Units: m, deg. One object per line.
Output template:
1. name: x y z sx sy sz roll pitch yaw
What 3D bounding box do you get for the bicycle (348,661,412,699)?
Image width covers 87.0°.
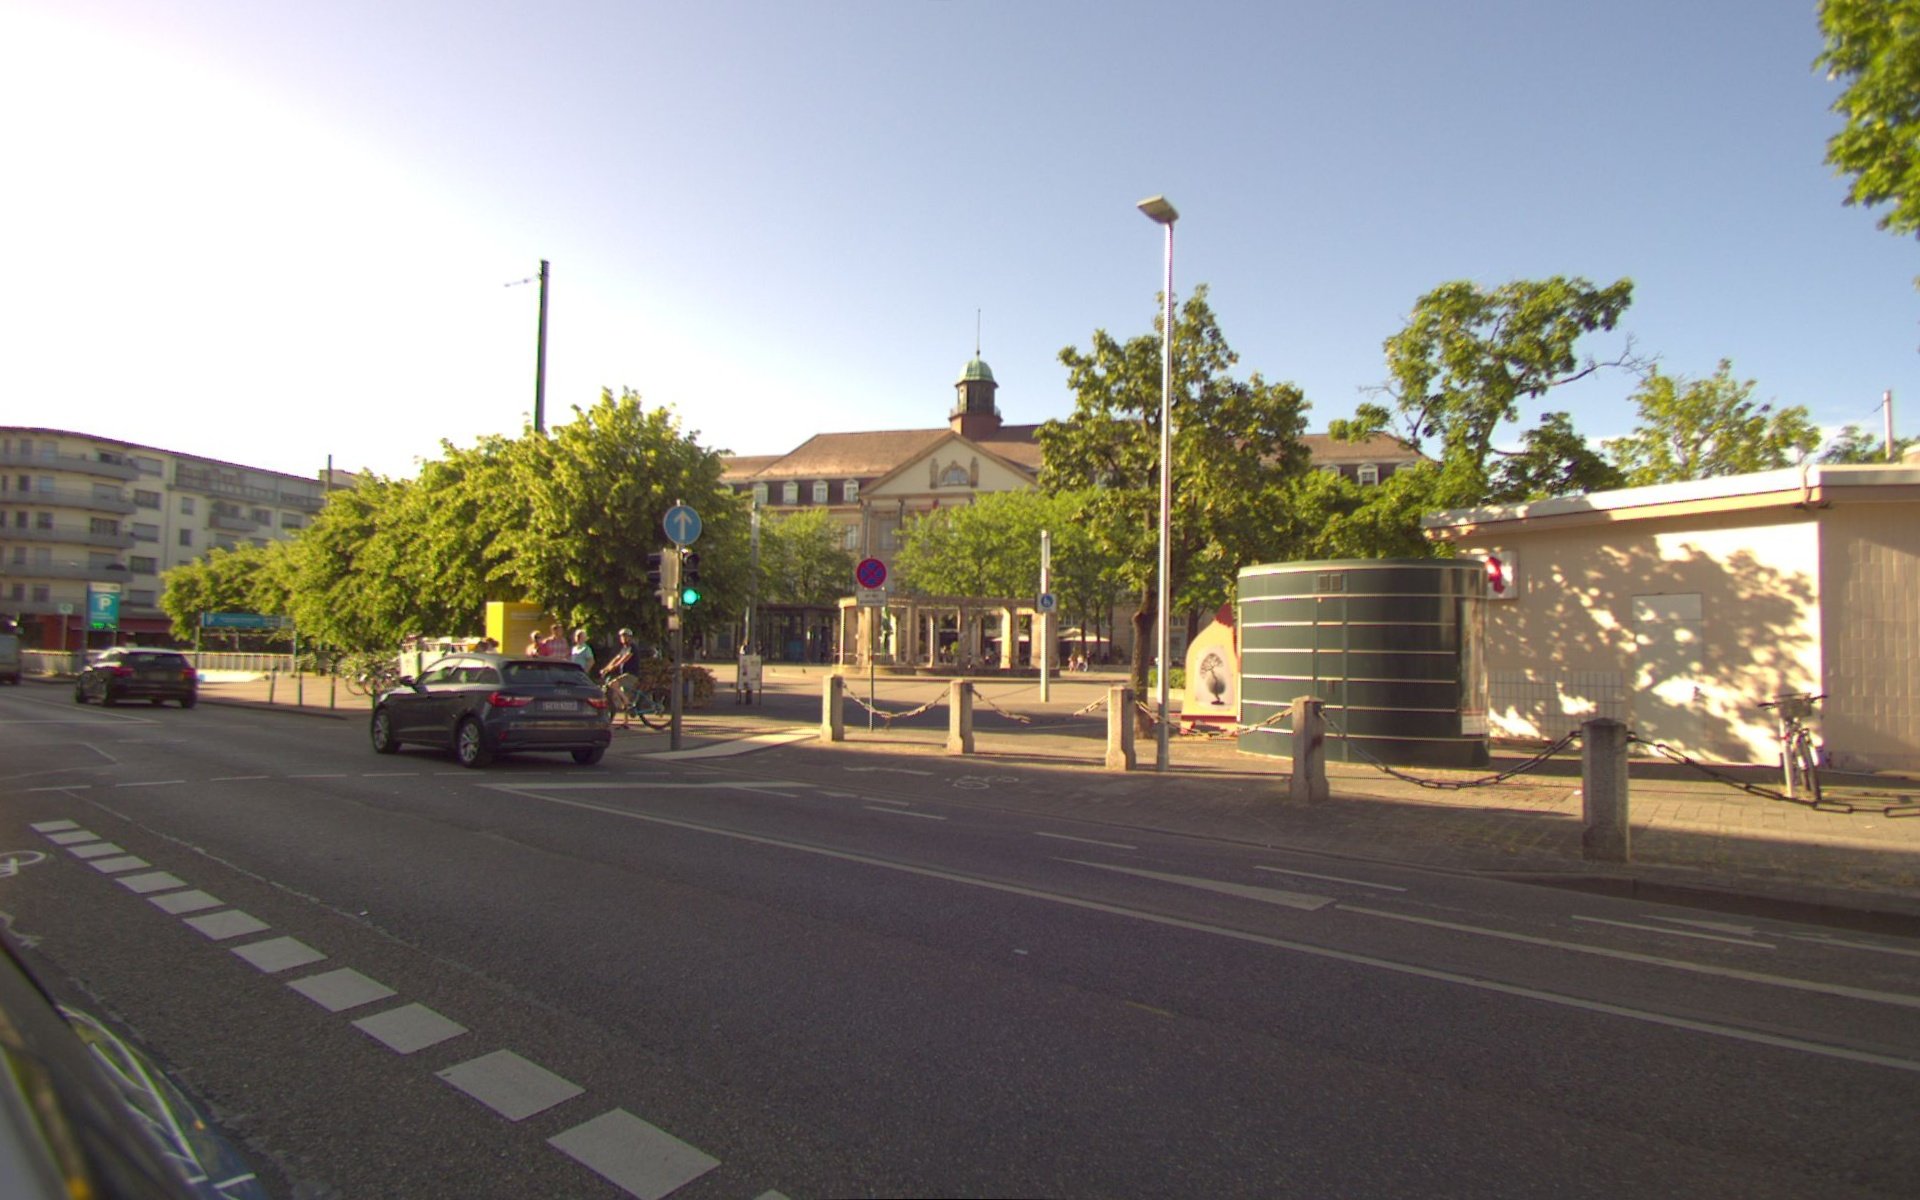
1. bicycle: -16.623 2.287 29.028 0.364 1.039 1.530 -2 -5 38

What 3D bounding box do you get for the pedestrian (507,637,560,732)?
1. pedestrian: -8.422 1.662 20.009 0.772 1.825 0.590 1 -4 -5

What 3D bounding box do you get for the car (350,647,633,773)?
1. car: -6.241 1.391 13.328 4.037 1.408 1.634 -2 -8 38

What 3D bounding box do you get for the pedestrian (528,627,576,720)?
1. pedestrian: -8.624 1.542 21.385 0.783 1.933 0.601 -3 -5 41

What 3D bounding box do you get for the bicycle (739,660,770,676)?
1. bicycle: -14.040 4.638 69.219 0.695 1.112 2.098 -2 -4 36

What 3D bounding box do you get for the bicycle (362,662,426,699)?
1. bicycle: -16.127 2.286 28.874 0.364 1.010 1.540 -2 -5 38

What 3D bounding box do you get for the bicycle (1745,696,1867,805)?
1. bicycle: 9.193 1.579 10.976 1.862 1.010 0.766 3 -4 -43

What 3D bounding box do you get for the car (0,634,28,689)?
1. car: -36.943 2.271 38.002 4.777 1.962 1.974 -2 -7 38

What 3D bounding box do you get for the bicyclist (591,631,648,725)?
1. bicyclist: -6.232 1.416 18.507 0.791 1.661 0.997 2 -4 -29

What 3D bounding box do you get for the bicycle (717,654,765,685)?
1. bicycle: -8.273 2.614 38.156 0.927 1.141 2.485 3 -4 -33

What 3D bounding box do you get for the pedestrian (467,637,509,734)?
1. pedestrian: -9.332 1.677 20.033 0.640 1.872 0.627 2 -4 -20

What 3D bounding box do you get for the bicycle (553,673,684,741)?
1. bicycle: -6.218 1.927 18.448 2.139 1.080 0.766 0 -3 -30

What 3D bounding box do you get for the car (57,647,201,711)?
1. car: -20.458 1.916 24.867 4.248 1.434 1.732 -2 -6 37

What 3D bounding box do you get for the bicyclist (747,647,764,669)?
1. bicyclist: -13.977 3.976 69.283 0.646 1.483 0.941 -2 -4 35

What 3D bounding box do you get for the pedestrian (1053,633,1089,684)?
1. pedestrian: 6.696 3.558 61.201 1.527 3.001 1.727 -2 -5 36

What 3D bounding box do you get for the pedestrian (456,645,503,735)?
1. pedestrian: -9.178 1.707 19.352 0.676 1.686 0.699 2 -4 -20

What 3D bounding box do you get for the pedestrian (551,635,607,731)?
1. pedestrian: -7.447 1.610 19.805 0.776 1.825 0.587 0 -4 13

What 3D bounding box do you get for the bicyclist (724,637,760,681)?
1. bicyclist: -8.195 2.235 38.063 0.927 1.621 1.173 3 -4 -33

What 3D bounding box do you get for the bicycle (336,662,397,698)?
1. bicycle: -17.614 2.375 30.059 1.507 1.039 0.365 3 -4 -36
